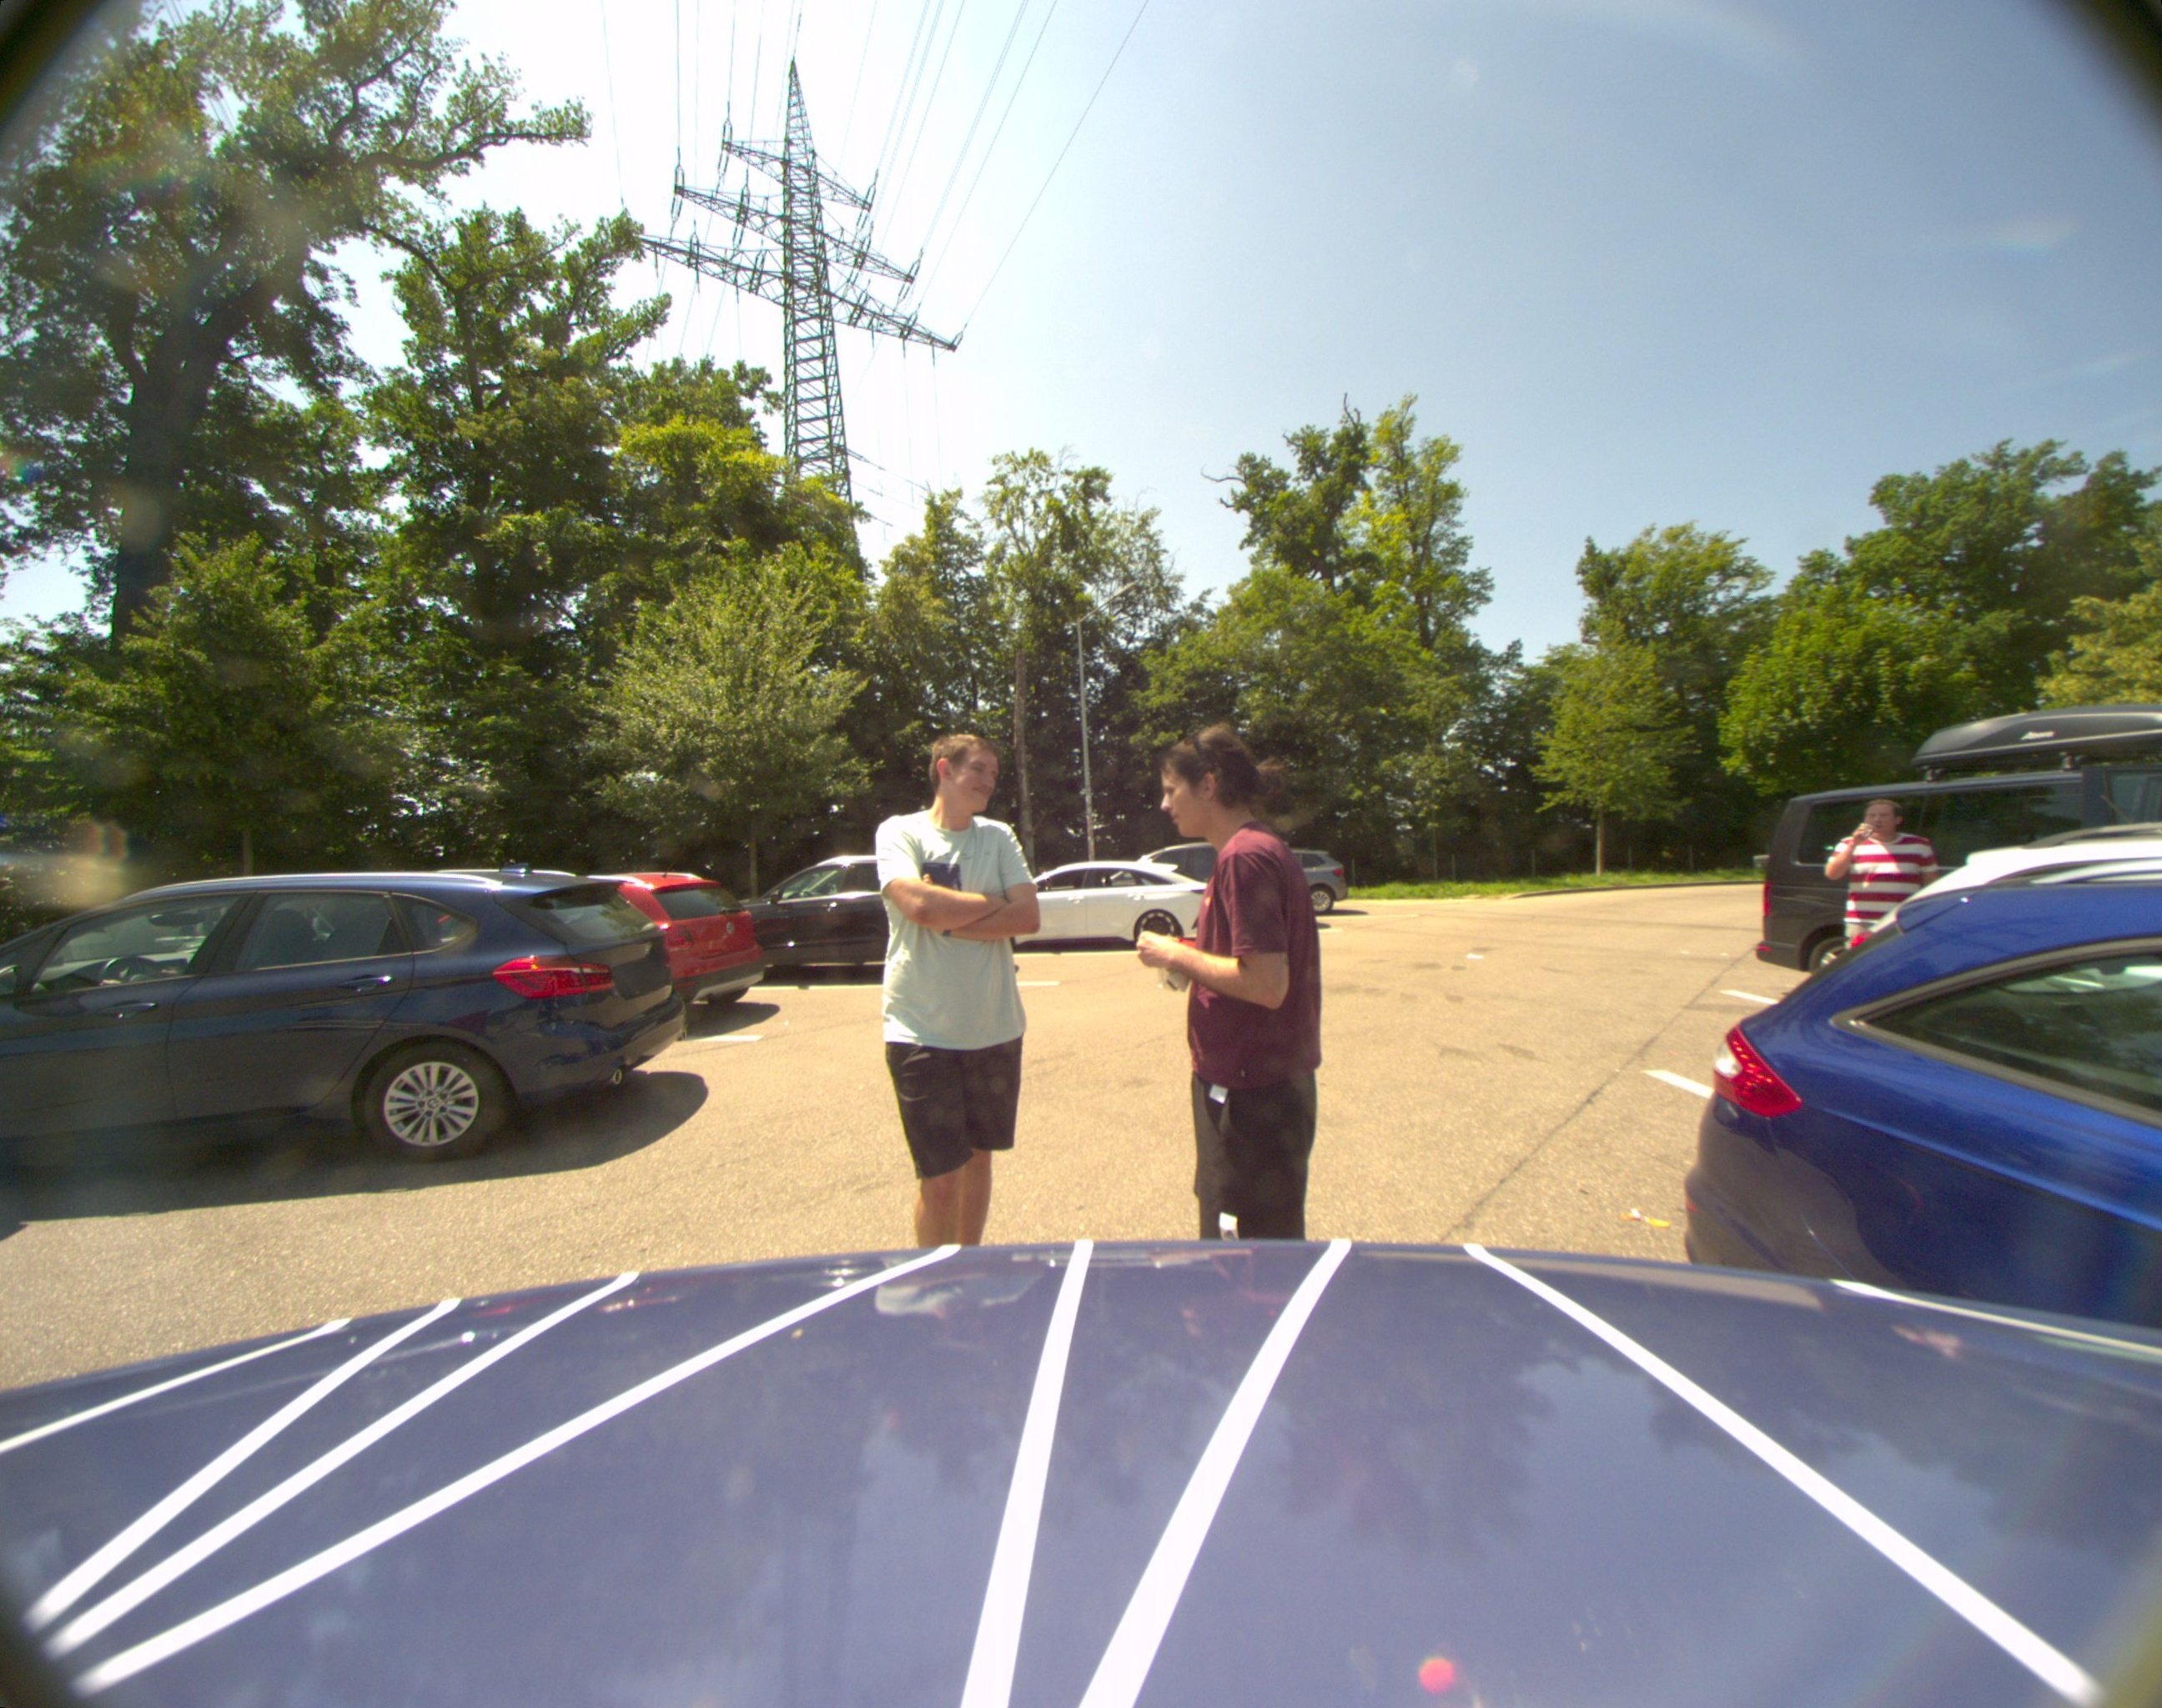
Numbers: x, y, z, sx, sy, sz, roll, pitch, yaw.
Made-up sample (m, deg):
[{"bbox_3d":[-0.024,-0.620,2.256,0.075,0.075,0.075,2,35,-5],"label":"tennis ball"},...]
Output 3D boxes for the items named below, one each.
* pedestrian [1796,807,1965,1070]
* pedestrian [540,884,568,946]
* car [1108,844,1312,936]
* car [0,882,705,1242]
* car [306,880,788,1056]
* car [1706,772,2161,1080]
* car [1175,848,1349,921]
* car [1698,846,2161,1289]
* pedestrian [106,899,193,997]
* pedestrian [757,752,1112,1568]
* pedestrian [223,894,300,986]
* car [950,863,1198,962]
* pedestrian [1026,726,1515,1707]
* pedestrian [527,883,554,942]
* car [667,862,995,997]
[{"bbox_3d":[5.839,0.552,5.554,0.786,1.744,0.753,-3,1,-37],"label":"pedestrian"},{"bbox_3d":[-10.161,1.161,14.649,0.357,1.158,0.384,-3,2,-41],"label":"pedestrian"},{"bbox_3d":[2.610,0.709,15.482,3.822,1.686,1.652,-2,1,12],"label":"car"},{"bbox_3d":[-4.855,1.042,4.487,4.344,1.544,1.747,-2,1,-8],"label":"car"},{"bbox_3d":[-5.228,1.088,7.695,3.823,1.460,1.651,-2,1,8],"label":"car"},{"bbox_3d":[7.378,0.414,5.309,1.758,1.886,4.571,-3,-1,-9],"label":"car"},{"bbox_3d":[4.269,0.705,18.177,3.822,1.551,1.652,-2,1,12],"label":"car"},{"bbox_3d":[4.650,0.729,2.277,1.757,1.496,4.574,-3,-1,-1],"label":"car"},{"bbox_3d":[-12.725,1.267,10.397,0.595,1.238,0.446,-3,1,-33],"label":"pedestrian"},{"bbox_3d":[-0.490,0.715,2.359,0.815,1.939,0.919,-3,1,-20],"label":"pedestrian"},{"bbox_3d":[-11.858,1.227,11.011,0.595,1.238,0.499,-3,1,-33],"label":"pedestrian"},{"bbox_3d":[-0.071,0.931,12.699,3.825,1.394,1.651,-2,1,4],"label":"car"},{"bbox_3d":[0.471,0.715,1.955,0.919,1.894,0.815,-2,1,16],"label":"pedestrian"},{"bbox_3d":[-11.005,1.184,15.464,0.357,1.158,0.384,-3,2,-41],"label":"pedestrian"},{"bbox_3d":[-3.246,0.960,10.324,3.825,1.546,1.651,-2,1,4],"label":"car"}]
